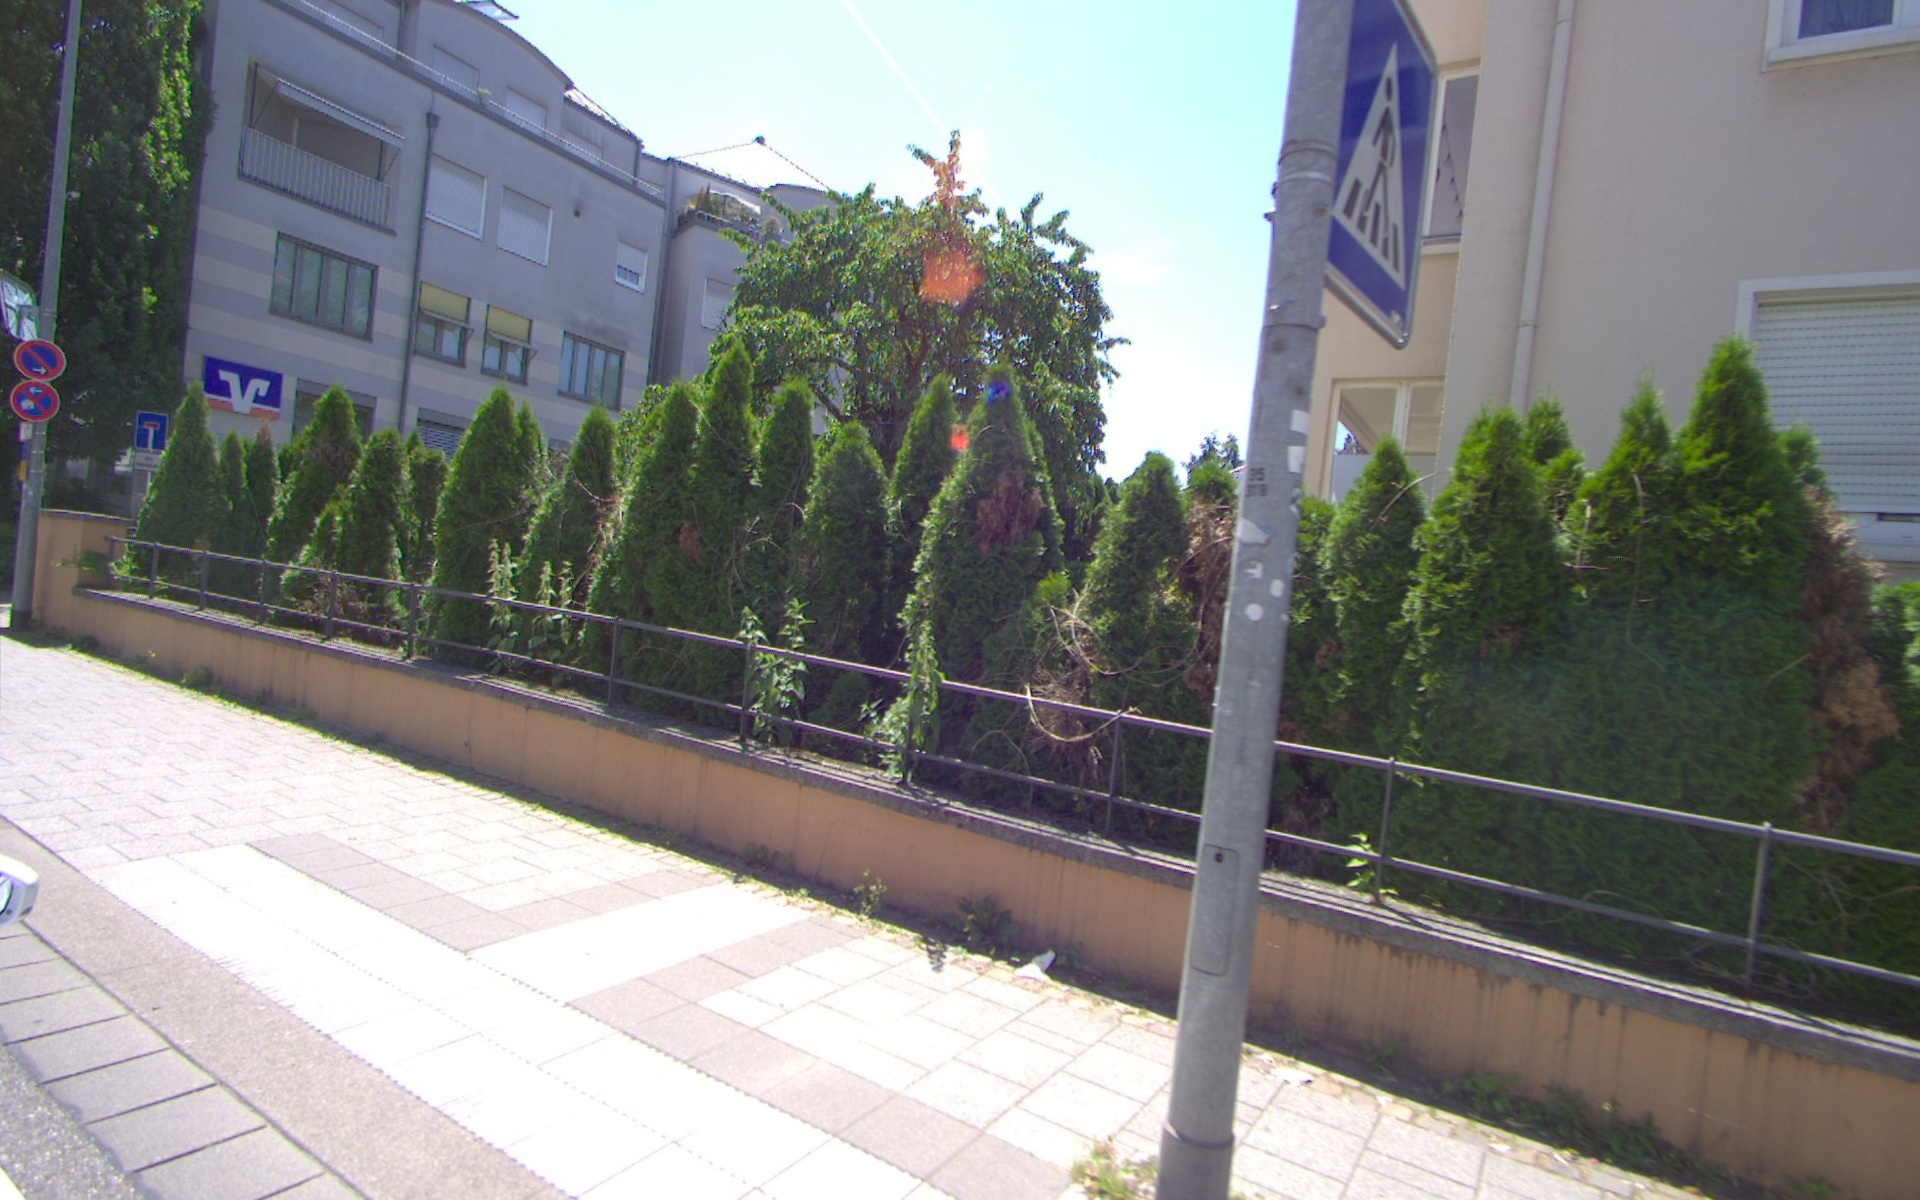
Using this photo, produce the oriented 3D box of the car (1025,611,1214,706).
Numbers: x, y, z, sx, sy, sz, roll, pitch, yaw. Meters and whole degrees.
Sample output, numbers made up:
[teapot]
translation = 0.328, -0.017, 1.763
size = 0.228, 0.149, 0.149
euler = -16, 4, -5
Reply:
[car]
translation = 3.323, 1.187, 21.004
size = 3.442, 1.477, 1.611
euler = 6, 1, 27
